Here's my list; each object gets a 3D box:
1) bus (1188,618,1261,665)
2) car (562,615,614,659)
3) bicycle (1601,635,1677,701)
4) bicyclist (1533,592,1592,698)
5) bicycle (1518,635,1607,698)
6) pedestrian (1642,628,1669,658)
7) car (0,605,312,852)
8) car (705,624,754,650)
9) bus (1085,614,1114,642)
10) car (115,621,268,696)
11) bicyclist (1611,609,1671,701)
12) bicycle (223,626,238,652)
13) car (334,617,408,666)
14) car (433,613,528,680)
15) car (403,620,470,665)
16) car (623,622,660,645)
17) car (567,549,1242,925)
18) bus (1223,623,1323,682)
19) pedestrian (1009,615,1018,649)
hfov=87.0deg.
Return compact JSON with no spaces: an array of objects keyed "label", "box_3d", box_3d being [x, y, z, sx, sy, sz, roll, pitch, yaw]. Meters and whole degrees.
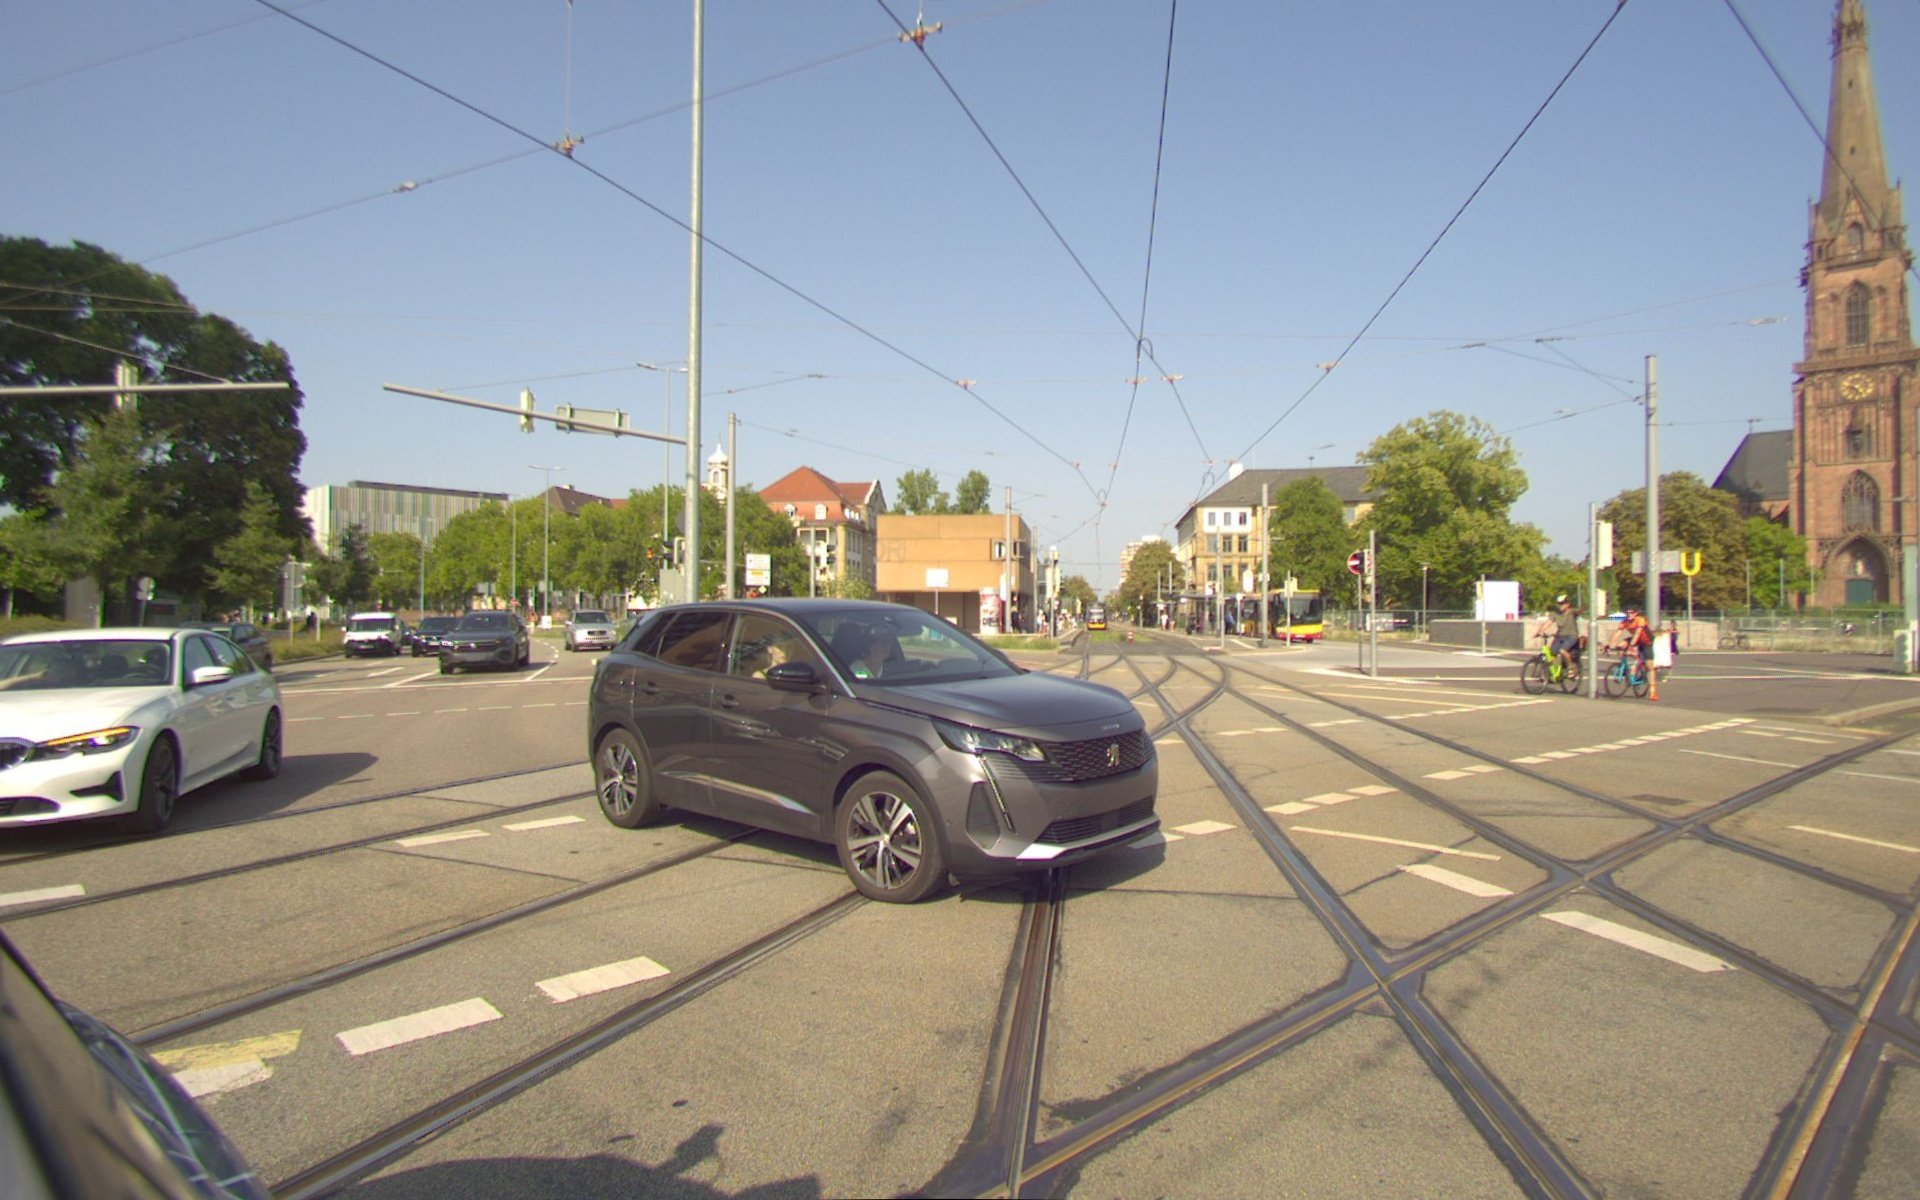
[{"label":"bus","box_3d":[19.688,3.052,76.207,3.185,3.203,13.292,0,-2,6]},{"label":"car","box_3d":[-15.804,1.575,43.060,1.919,1.720,4.303,-1,-1,-20]},{"label":"bicycle","box_3d":[12.385,1.227,18.456,1.473,1.174,0.313,0,-2,-20]},{"label":"bicyclist","box_3d":[11.616,0.857,19.528,0.793,1.989,0.583,0,-2,-21]},{"label":"bicycle","box_3d":[11.621,1.268,19.515,1.827,1.174,0.378,0,-2,-20]},{"label":"pedestrian","box_3d":[29.853,1.841,43.433,0.759,1.302,0.557,0,-2,8]},{"label":"car","box_3d":[-6.803,0.818,8.022,1.783,1.438,4.789,1,-2,-20]},{"label":"car","box_3d":[-13.929,2.199,60.999,1.752,1.519,4.012,1,-2,-30]},{"label":"bus","box_3d":[17.980,3.655,131.139,3.185,3.445,13.292,0,-2,6]},{"label":"car","box_3d":[-18.166,1.338,24.145,1.714,1.594,3.988,0,-2,-18]},{"label":"bicyclist","box_3d":[12.407,0.984,18.449,0.793,1.642,0.513,0,-2,-21]},{"label":"bicycle","box_3d":[-33.930,1.796,47.071,0.394,1.203,1.778,1,-2,-30]},{"label":"car","box_3d":[-24.747,1.726,42.664,1.764,1.901,4.303,-1,-1,-18]},{"label":"car","box_3d":[-13.659,1.304,29.045,1.893,1.720,4.303,-1,-1,-18]},{"label":"car","box_3d":[-21.584,1.731,41.860,1.738,1.720,4.303,-1,-1,-18]},{"label":"car","box_3d":[-20.288,2.132,64.366,1.468,1.462,3.534,1,-2,-30]},{"label":"car","box_3d":[-0.622,0.660,6.639,4.357,1.633,1.971,-2,-2,44]},{"label":"bus","box_3d":[18.732,3.063,61.685,3.185,3.203,13.292,0,-2,6]},{"label":"pedestrian","box_3d":[2.832,1.679,53.724,0.399,1.782,0.557,0,-2,10]}]
